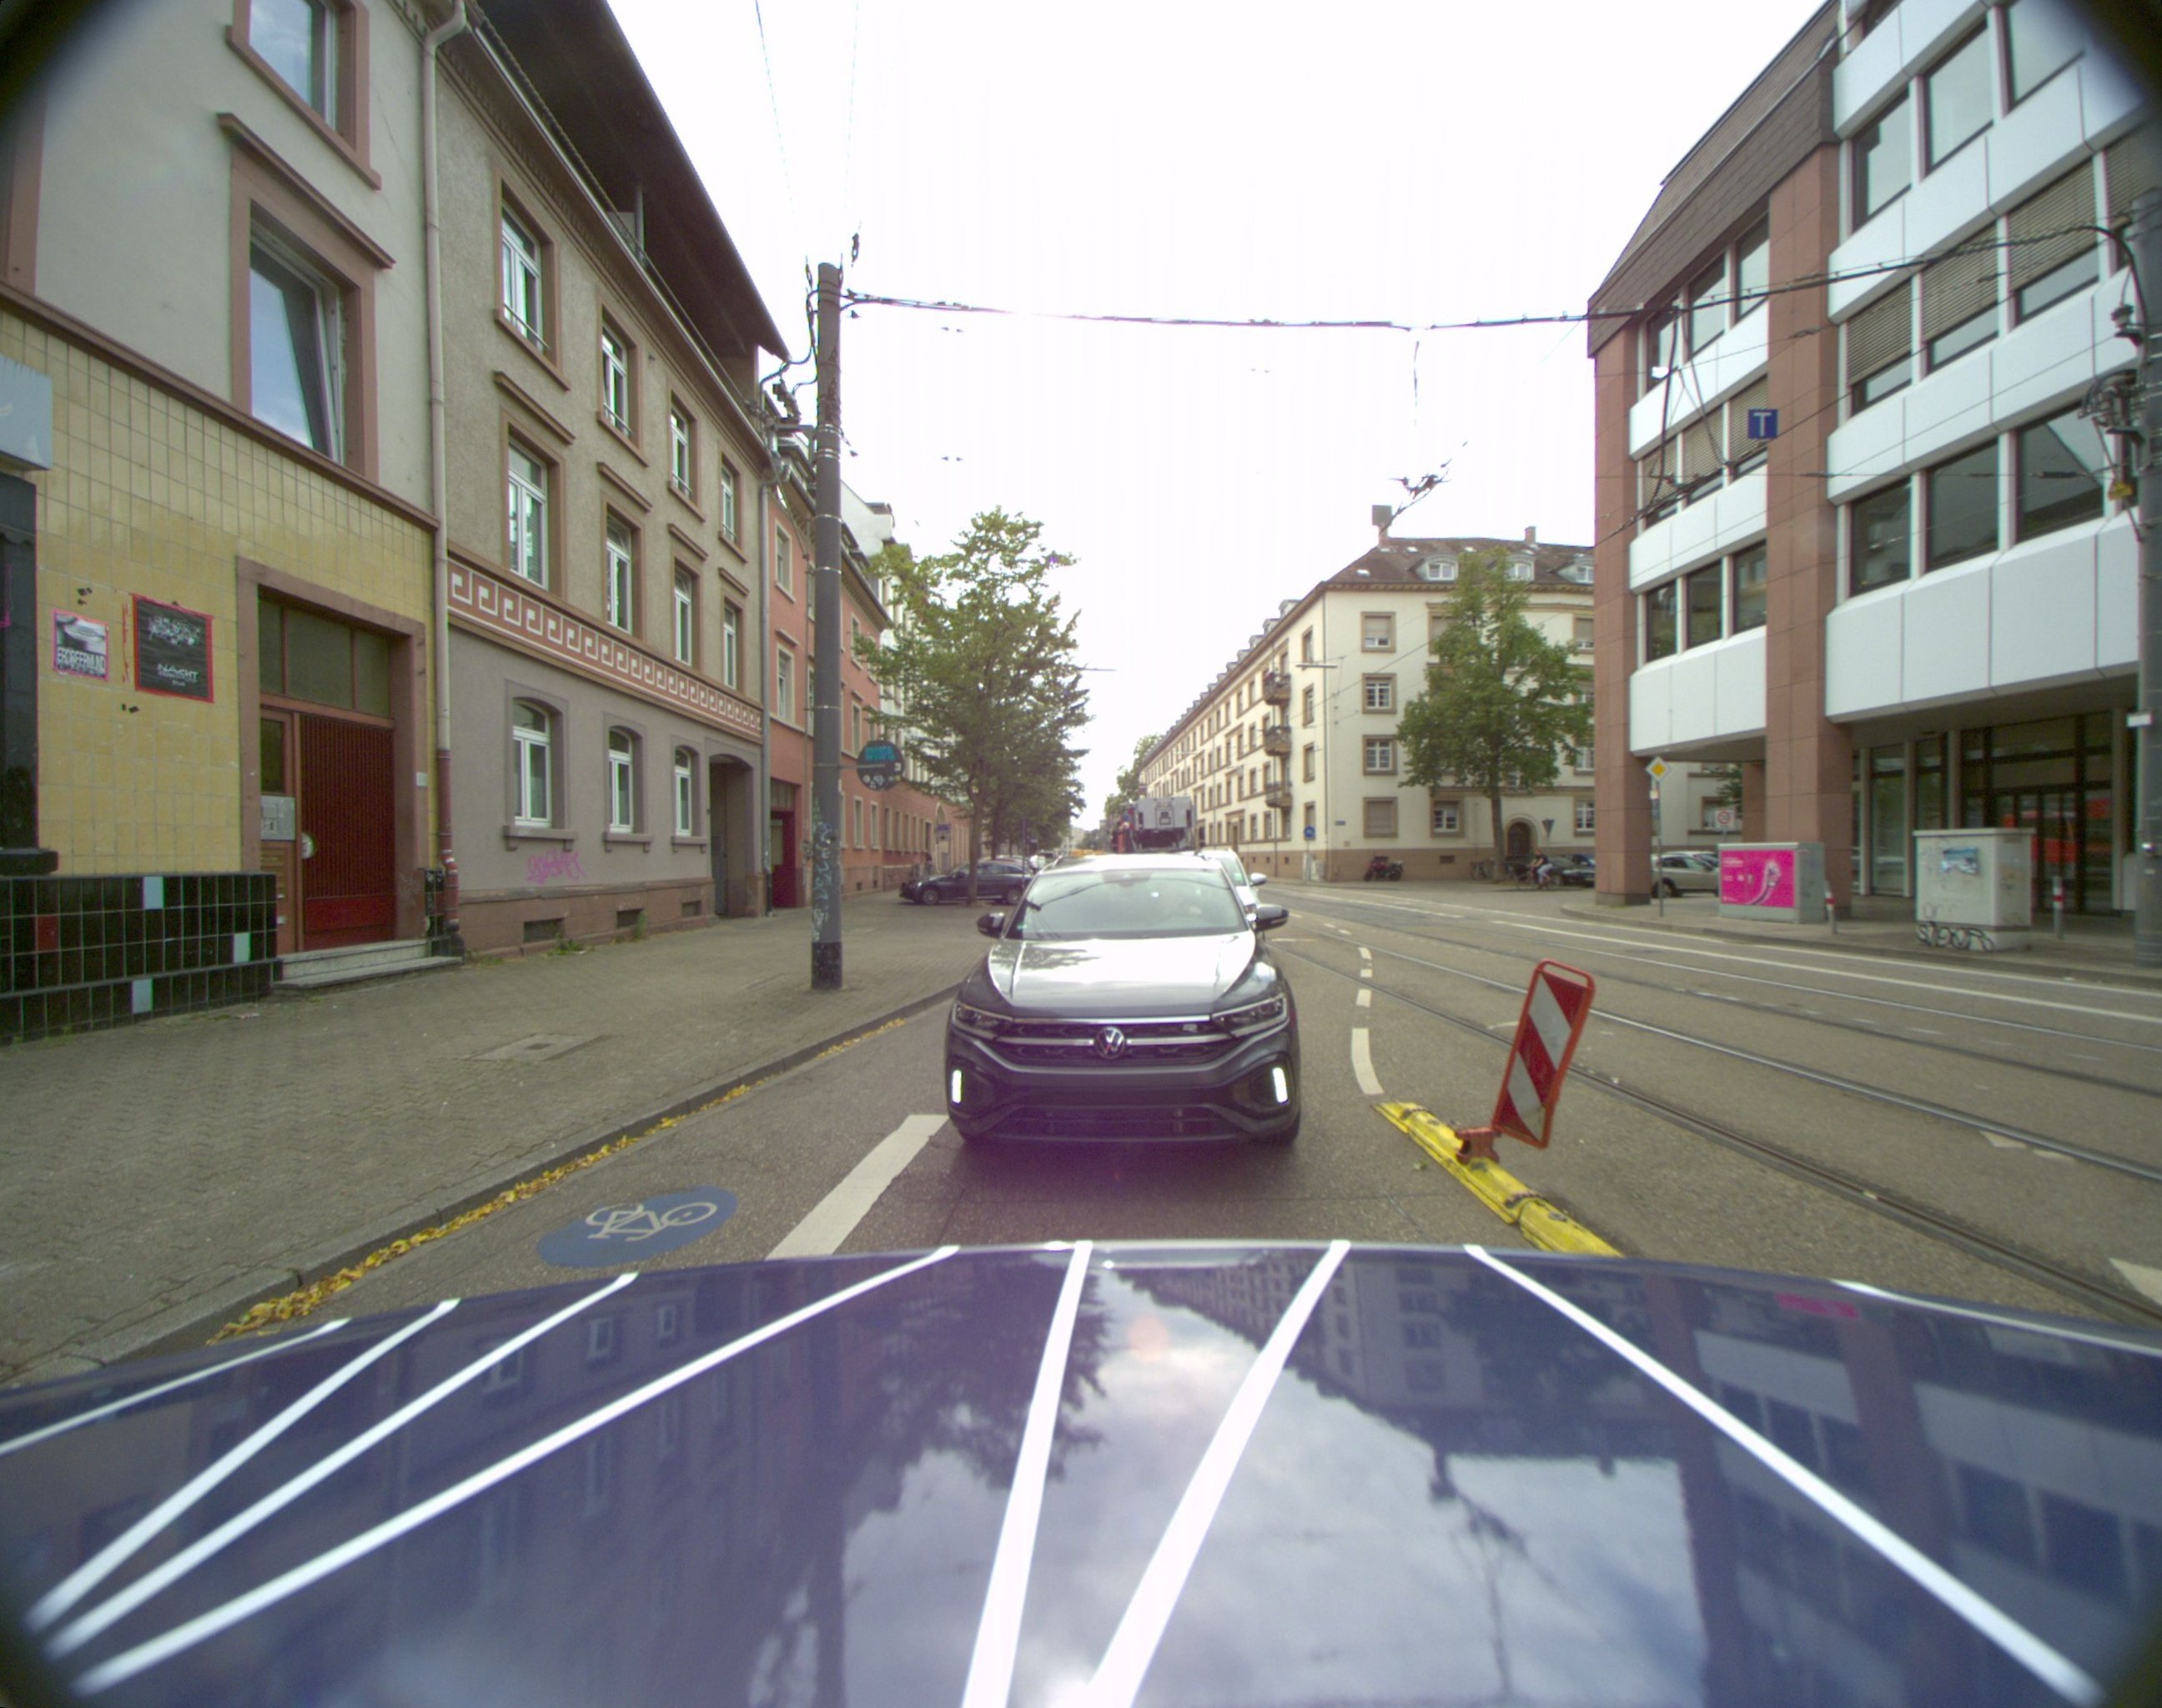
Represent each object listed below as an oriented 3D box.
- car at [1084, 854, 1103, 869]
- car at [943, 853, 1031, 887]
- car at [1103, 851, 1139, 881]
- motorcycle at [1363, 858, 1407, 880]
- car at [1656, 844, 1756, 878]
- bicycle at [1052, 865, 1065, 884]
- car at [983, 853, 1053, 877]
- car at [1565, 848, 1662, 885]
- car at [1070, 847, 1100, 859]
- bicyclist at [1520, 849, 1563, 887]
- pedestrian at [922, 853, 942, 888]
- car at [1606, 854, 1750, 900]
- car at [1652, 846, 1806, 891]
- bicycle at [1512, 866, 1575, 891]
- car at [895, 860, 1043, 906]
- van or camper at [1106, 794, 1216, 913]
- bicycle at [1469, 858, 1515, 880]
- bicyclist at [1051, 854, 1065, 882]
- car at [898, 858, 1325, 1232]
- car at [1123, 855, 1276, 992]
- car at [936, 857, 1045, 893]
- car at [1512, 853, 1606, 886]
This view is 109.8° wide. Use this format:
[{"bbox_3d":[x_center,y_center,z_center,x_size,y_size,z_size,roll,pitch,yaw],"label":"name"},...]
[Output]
[{"bbox_3d":[1.321,0.801,81.573,1.911,1.478,4.000,-1,0,1],"label":"car"},{"bbox_3d":[-4.920,0.835,39.869,4.245,1.688,1.736,1,0,-24],"label":"car"},{"bbox_3d":[2.361,0.673,45.904,1.998,1.698,4.053,-1,0,1],"label":"car"},{"bbox_3d":[15.296,0.766,38.278,1.924,1.080,0.793,-1,0,-1],"label":"motorcycle"},{"bbox_3d":[28.488,0.298,34.749,1.592,1.453,3.524,-1,0,-3],"label":"car"},{"bbox_3d":[-1.263,1.148,43.006,0.714,1.012,1.800,-2,0,-1],"label":"bicycle"},{"bbox_3d":[-4.587,0.817,55.279,4.635,1.688,1.913,1,0,-24],"label":"car"},{"bbox_3d":[23.562,0.522,33.803,1.611,1.538,3.715,-1,0,-3],"label":"car"},{"bbox_3d":[0.667,-0.161,137.048,2.553,2.142,5.914,-1,0,-31],"label":"car"},{"bbox_3d":[18.061,0.552,29.798,1.258,1.453,0.678,-1,0,6],"label":"bicyclist"},{"bbox_3d":[-7.260,0.802,37.077,0.732,1.678,0.926,3,0,-1],"label":"pedestrian"},{"bbox_3d":[19.185,0.721,24.464,3.650,1.380,1.611,-1,0,-9],"label":"car"},{"bbox_3d":[24.285,0.531,28.626,4.043,1.528,1.776,-2,0,9],"label":"car"},{"bbox_3d":[18.111,0.970,29.795,2.010,0.959,0.673,-1,-1,6],"label":"bicycle"},{"bbox_3d":[-3.786,0.956,25.712,4.635,1.464,1.786,1,0,-24],"label":"car"},{"bbox_3d":[2.485,-0.026,26.803,2.607,3.401,9.651,-1,0,-1],"label":"van or camper"},{"bbox_3d":[20.798,0.761,38.496,1.924,1.080,0.793,-1,0,-1],"label":"bicycle"},{"bbox_3d":[-1.274,0.789,42.977,0.715,1.498,0.918,-2,0,-1],"label":"bicyclist"},{"bbox_3d":[0.283,0.845,5.383,1.773,1.538,4.283,-2,0,5],"label":"car"},{"bbox_3d":[1.598,0.846,11.311,1.773,1.582,4.283,-2,0,5],"label":"car"},{"bbox_3d":[-3.899,0.894,32.786,4.351,1.471,1.786,1,0,-24],"label":"car"},{"bbox_3d":[21.161,0.656,33.840,1.611,1.388,3.874,-1,0,-3],"label":"car"}]
